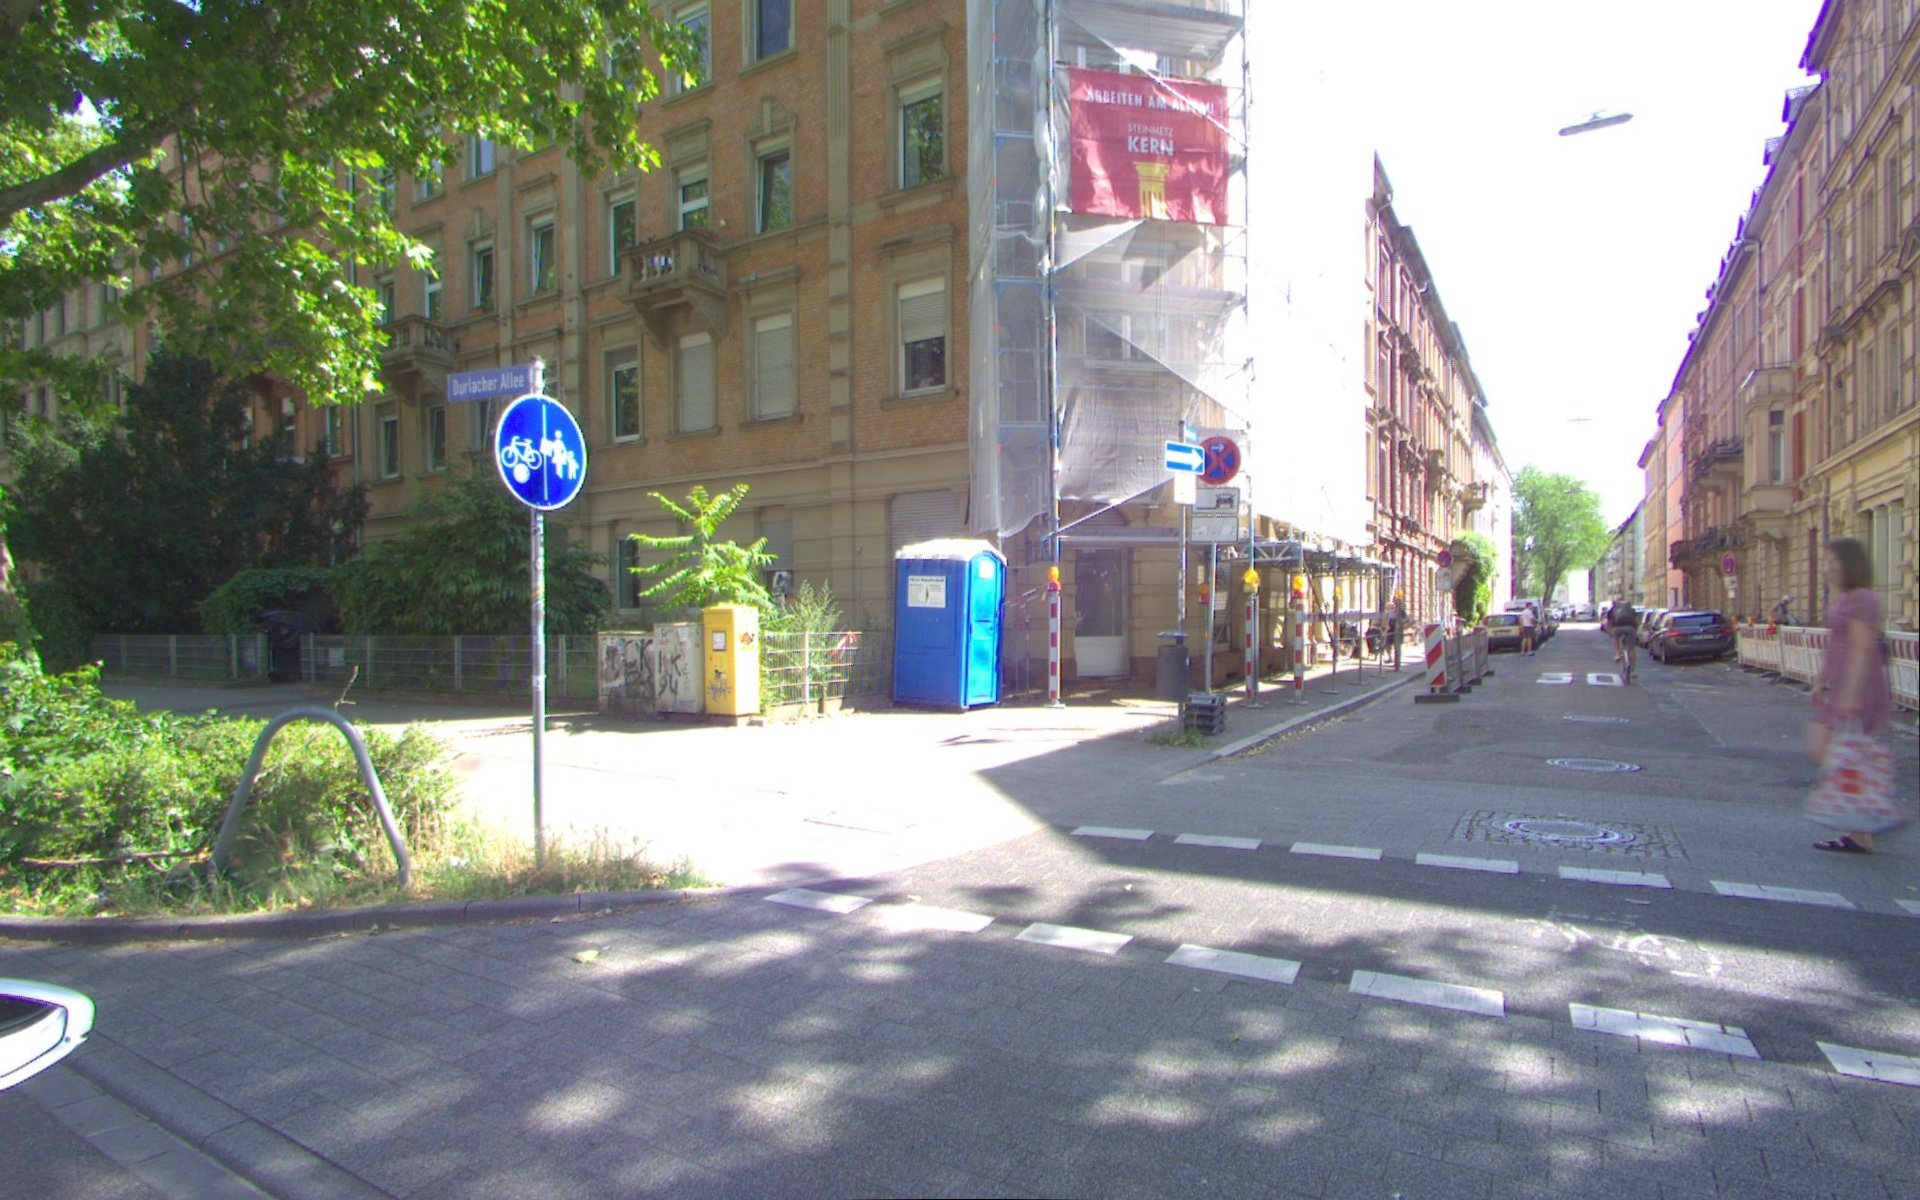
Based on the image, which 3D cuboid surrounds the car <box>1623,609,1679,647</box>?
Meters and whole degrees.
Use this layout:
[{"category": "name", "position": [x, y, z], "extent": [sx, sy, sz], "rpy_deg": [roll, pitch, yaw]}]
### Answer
[{"category": "car", "position": [33.366, 1.342, 48.451], "extent": [1.971, 1.761, 3.980], "rpy_deg": [-1, -1, 31]}]

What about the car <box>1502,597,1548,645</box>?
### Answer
[{"category": "car", "position": [29.903, 1.086, 52.925], "extent": [1.887, 2.405, 4.224], "rpy_deg": [-1, -1, 33]}]

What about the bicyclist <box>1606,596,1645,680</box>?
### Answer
[{"category": "bicyclist", "position": [13.309, 0.749, 20.043], "extent": [0.615, 1.644, 0.691], "rpy_deg": [0, 0, 32]}]

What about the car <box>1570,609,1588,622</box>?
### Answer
[{"category": "car", "position": [83.648, 2.093, 135.375], "extent": [1.971, 1.761, 3.980], "rpy_deg": [-1, -1, 31]}]

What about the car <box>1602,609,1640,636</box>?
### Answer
[{"category": "car", "position": [44.643, 1.475, 67.695], "extent": [1.971, 1.761, 3.980], "rpy_deg": [-1, -1, 31]}]

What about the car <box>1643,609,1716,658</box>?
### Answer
[{"category": "car", "position": [27.305, 1.219, 38.115], "extent": [1.971, 1.761, 3.980], "rpy_deg": [-1, -1, 31]}]

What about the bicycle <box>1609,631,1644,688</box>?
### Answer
[{"category": "bicycle", "position": [13.343, 1.161, 20.077], "extent": [0.525, 1.062, 1.916], "rpy_deg": [0, -1, 32]}]

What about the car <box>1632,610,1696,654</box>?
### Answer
[{"category": "car", "position": [30.087, 1.338, 42.905], "extent": [1.971, 1.761, 3.980], "rpy_deg": [-1, -1, 31]}]

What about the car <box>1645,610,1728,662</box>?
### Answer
[{"category": "car", "position": [24.633, 1.166, 34.079], "extent": [1.971, 1.661, 3.980], "rpy_deg": [-1, -1, 31]}]

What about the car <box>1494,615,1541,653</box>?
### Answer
[{"category": "car", "position": [24.192, 1.451, 43.416], "extent": [1.702, 1.549, 3.479], "rpy_deg": [-1, -1, 30]}]

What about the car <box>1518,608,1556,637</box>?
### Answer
[{"category": "car", "position": [35.914, 1.389, 62.295], "extent": [1.887, 1.732, 4.139], "rpy_deg": [-1, -1, 33]}]

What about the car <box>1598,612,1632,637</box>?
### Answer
[{"category": "car", "position": [48.376, 1.788, 73.980], "extent": [1.971, 1.761, 3.980], "rpy_deg": [-1, -1, 31]}]

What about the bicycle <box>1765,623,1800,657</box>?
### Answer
[{"category": "bicycle", "position": [24.349, 1.170, 29.658], "extent": [0.530, 0.991, 1.304], "rpy_deg": [0, 0, 28]}]

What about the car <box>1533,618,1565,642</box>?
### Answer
[{"category": "car", "position": [43.966, 2.225, 74.751], "extent": [1.887, 1.732, 4.139], "rpy_deg": [-1, -1, 33]}]

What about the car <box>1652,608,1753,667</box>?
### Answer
[{"category": "car", "position": [21.299, 1.037, 28.861], "extent": [1.971, 1.572, 3.980], "rpy_deg": [-1, -1, 31]}]

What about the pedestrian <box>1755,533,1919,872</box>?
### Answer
[{"category": "pedestrian", "position": [5.156, 0.551, 5.748], "extent": [0.840, 1.809, 0.734], "rpy_deg": [0, 0, 32]}]

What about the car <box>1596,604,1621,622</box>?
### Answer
[{"category": "car", "position": [65.020, 1.316, 100.392], "extent": [1.971, 1.761, 3.980], "rpy_deg": [-1, -1, 31]}]

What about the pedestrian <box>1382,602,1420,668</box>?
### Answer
[{"category": "pedestrian", "position": [11.929, 0.945, 27.105], "extent": [0.843, 1.748, 0.834], "rpy_deg": [-1, 0, 19]}]

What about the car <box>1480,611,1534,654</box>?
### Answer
[{"category": "car", "position": [21.165, 1.217, 38.690], "extent": [1.702, 1.549, 3.479], "rpy_deg": [-1, -1, 31]}]

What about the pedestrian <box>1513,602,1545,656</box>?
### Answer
[{"category": "pedestrian", "position": [19.758, 0.997, 34.800], "extent": [0.922, 1.822, 1.034], "rpy_deg": [-1, 0, 29]}]

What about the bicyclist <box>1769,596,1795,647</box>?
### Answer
[{"category": "bicyclist", "position": [24.355, 0.638, 29.669], "extent": [0.525, 1.472, 0.459], "rpy_deg": [0, 0, 28]}]
